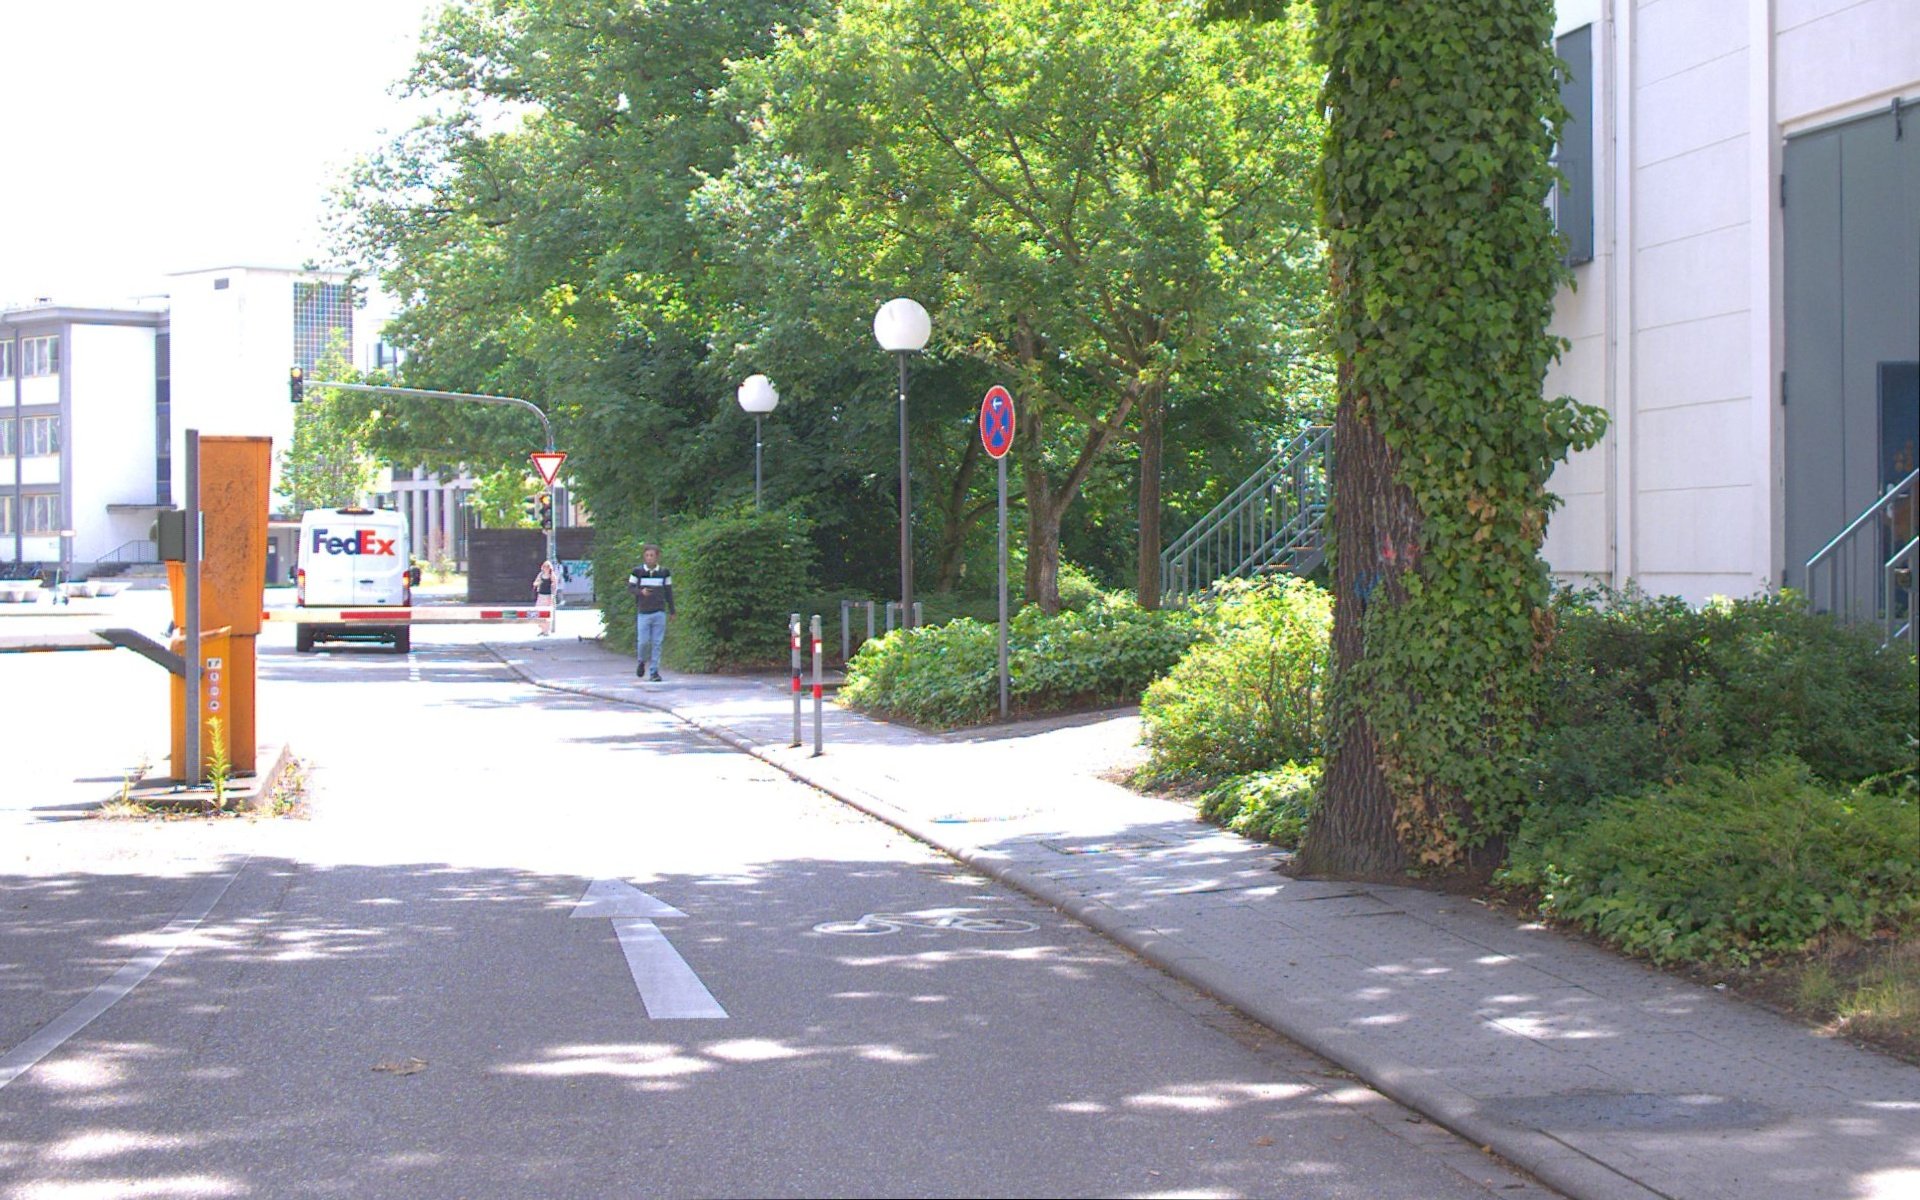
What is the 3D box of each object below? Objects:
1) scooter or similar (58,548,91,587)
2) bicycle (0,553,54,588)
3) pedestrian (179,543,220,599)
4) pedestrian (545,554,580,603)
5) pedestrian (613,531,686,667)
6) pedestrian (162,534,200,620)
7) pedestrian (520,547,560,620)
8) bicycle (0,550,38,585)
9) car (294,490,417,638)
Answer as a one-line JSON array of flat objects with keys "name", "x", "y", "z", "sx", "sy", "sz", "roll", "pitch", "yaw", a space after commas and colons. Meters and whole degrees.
[{"name": "scooter or similar", "x": -27.341, "y": -1.016, "z": 106.169, "sx": 0.716, "sy": 1.174, "sz": 2.726, "roll": 0, "pitch": 1, "yaw": -20}, {"name": "bicycle", "x": -37.789, "y": -1.188, "z": 137.249, "sx": 1.116, "sy": 1.359, "sz": 2.958, "roll": 1, "pitch": 0, "yaw": 43}, {"name": "pedestrian", "x": -27.582, "y": -1.041, "z": 124.715, "sx": 1.140, "sy": 2.007, "sz": 1.156, "roll": 0, "pitch": 0, "yaw": 5}, {"name": "pedestrian", "x": -12.376, "y": -0.659, "z": 106.973, "sx": 0.825, "sy": 1.518, "sz": 0.815, "roll": 0, "pitch": 1, "yaw": -29}, {"name": "pedestrian", "x": -3.867, "y": -0.020, "z": 42.748, "sx": 0.739, "sy": 1.669, "sz": 1.257, "roll": 0, "pitch": 1, "yaw": -12}, {"name": "pedestrian", "x": -16.892, "y": -0.492, "z": 74.554, "sx": 0.719, "sy": 1.853, "sz": 0.770, "roll": 0, "pitch": 1, "yaw": -8}, {"name": "pedestrian", "x": -9.134, "y": -0.366, "z": 74.797, "sx": 0.731, "sy": 1.570, "sz": 0.776, "roll": 1, "pitch": 0, "yaw": -14}, {"name": "bicycle", "x": -38.699, "y": -1.313, "z": 138.218, "sx": 1.116, "sy": 1.359, "sz": 2.958, "roll": 1, "pitch": 0, "yaw": 43}, {"name": "car", "x": -11.020, "y": -0.680, "z": 62.647, "sx": 2.094, "sy": 2.558, "sz": 5.604, "roll": 0, "pitch": 1, "yaw": -10}]
